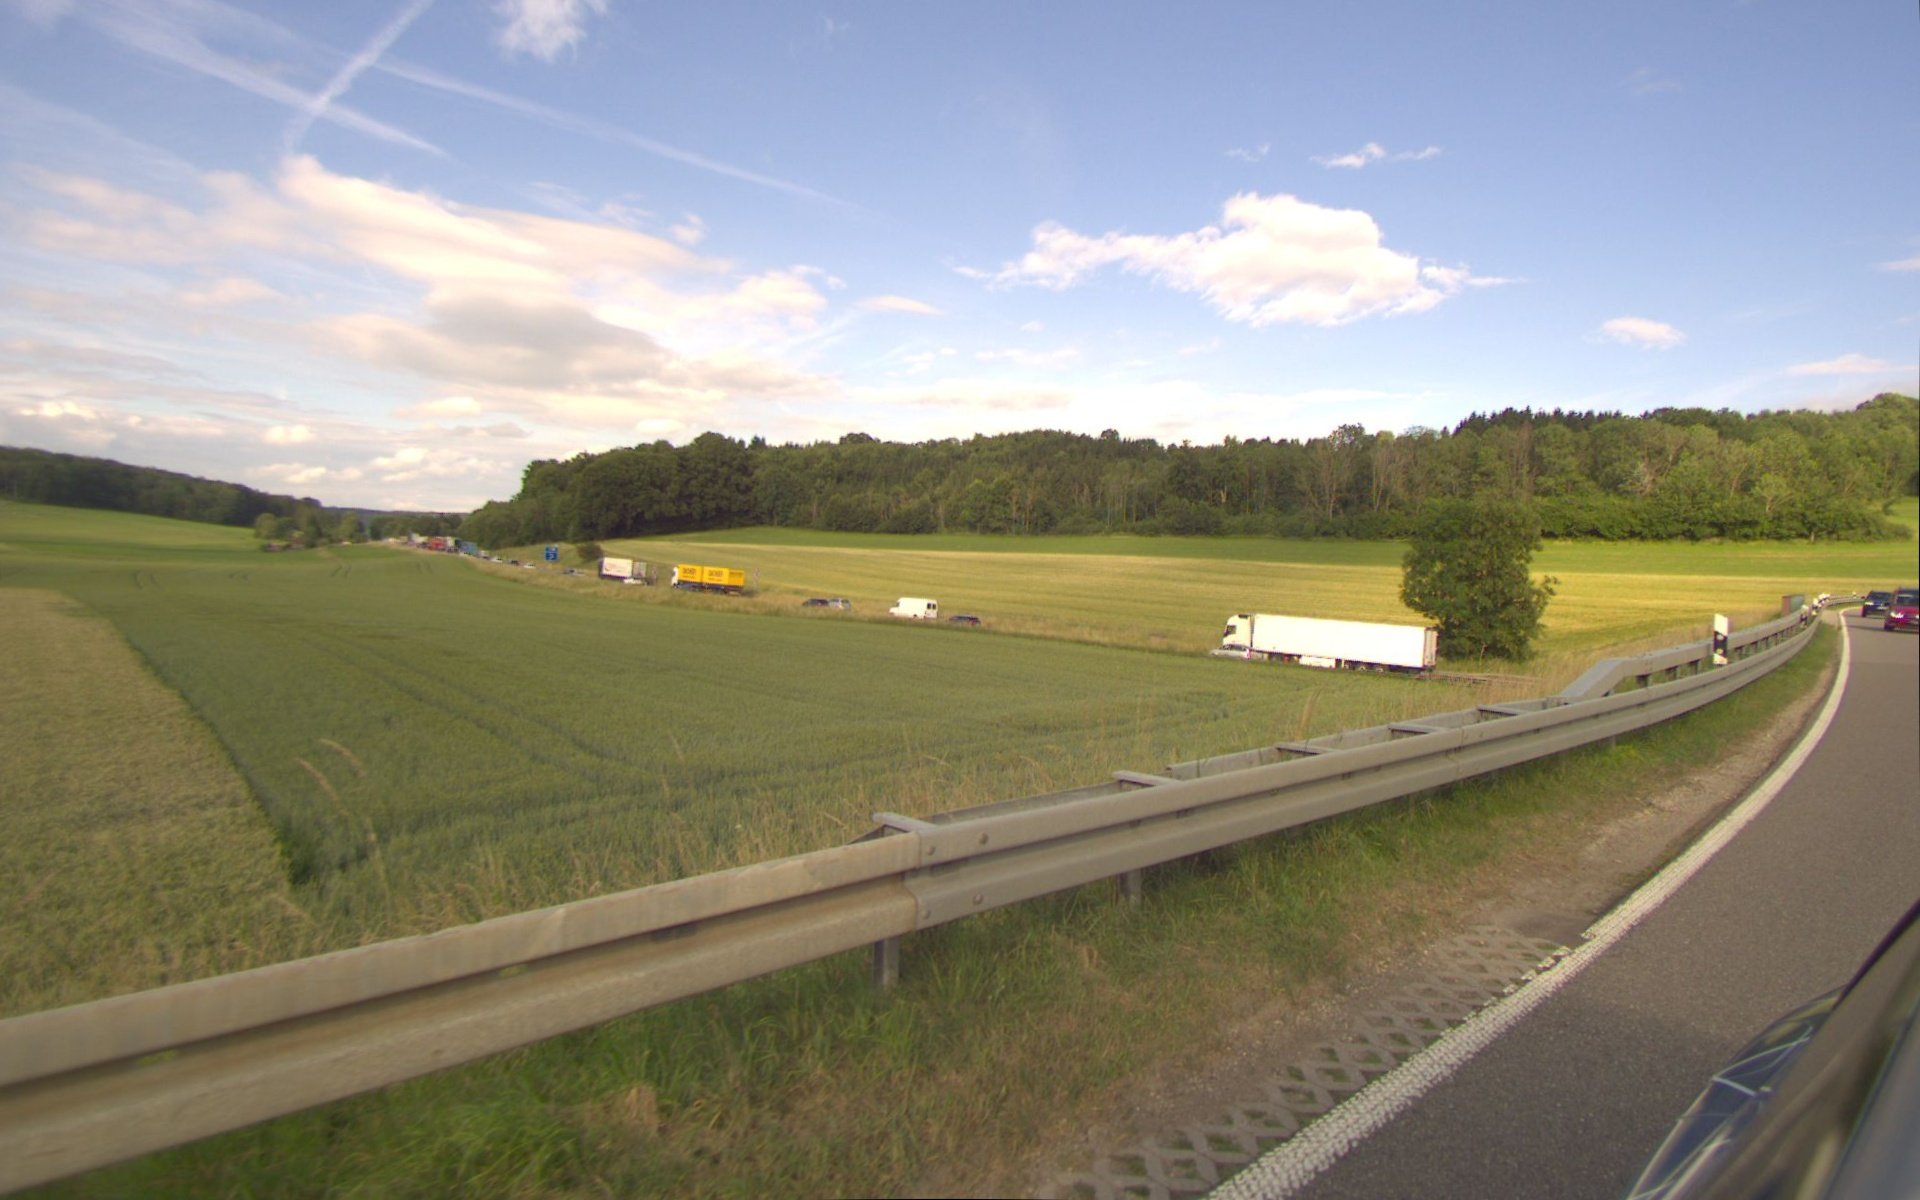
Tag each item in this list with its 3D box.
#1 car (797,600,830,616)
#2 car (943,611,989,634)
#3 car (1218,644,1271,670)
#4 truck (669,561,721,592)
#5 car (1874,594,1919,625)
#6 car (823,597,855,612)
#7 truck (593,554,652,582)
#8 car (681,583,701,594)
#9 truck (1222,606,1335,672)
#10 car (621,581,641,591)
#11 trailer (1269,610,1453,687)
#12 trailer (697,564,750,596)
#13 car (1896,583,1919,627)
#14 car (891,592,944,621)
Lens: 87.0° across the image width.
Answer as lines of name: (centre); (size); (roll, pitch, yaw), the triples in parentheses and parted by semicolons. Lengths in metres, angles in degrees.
car: (-16.741, 0.893, 115.926); (3.989, 1.538, 1.656); (4, 3, 45)
car: (0.580, 2.174, 98.087); (4.360, 1.722, 1.751); (5, 5, 43)
car: (21.735, 4.335, 77.329); (3.456, 1.662, 1.735); (1, 4, 44)
truck: (-39.830, -3.662, 151.811); (3.771, 4.108, 9.793); (-3, 5, -40)
car: (56.458, 0.560, 60.995); (1.818, 1.630, 3.936); (6, 4, 44)
car: (-14.815, 0.539, 123.726); (1.774, 1.487, 3.991); (3, 1, -44)
truck: (-58.115, -5.596, 173.916); (4.013, 4.042, 14.402); (-5, 7, -42)
car: (-37.331, -1.596, 140.231); (1.355, 1.283, 3.093); (0, 2, -43)
truck: (25.636, 3.075, 81.798); (8.035, 4.523, 2.981); (5, 1, 44)
car: (-50.359, -2.148, 154.772); (3.319, 1.411, 1.582); (4, 3, 45)
trailer: (30.265, 3.530, 77.218); (12.694, 4.523, 2.983); (5, 1, 44)
trailer: (-33.814, -2.965, 144.621); (3.770, 4.108, 9.122); (-3, 5, -39)
car: (38.863, 0.261, 40.554); (1.816, 1.675, 3.939); (6, 3, 42)
car: (-4.751, 0.703, 112.369); (2.333, 2.617, 6.112); (6, 0, -44)
